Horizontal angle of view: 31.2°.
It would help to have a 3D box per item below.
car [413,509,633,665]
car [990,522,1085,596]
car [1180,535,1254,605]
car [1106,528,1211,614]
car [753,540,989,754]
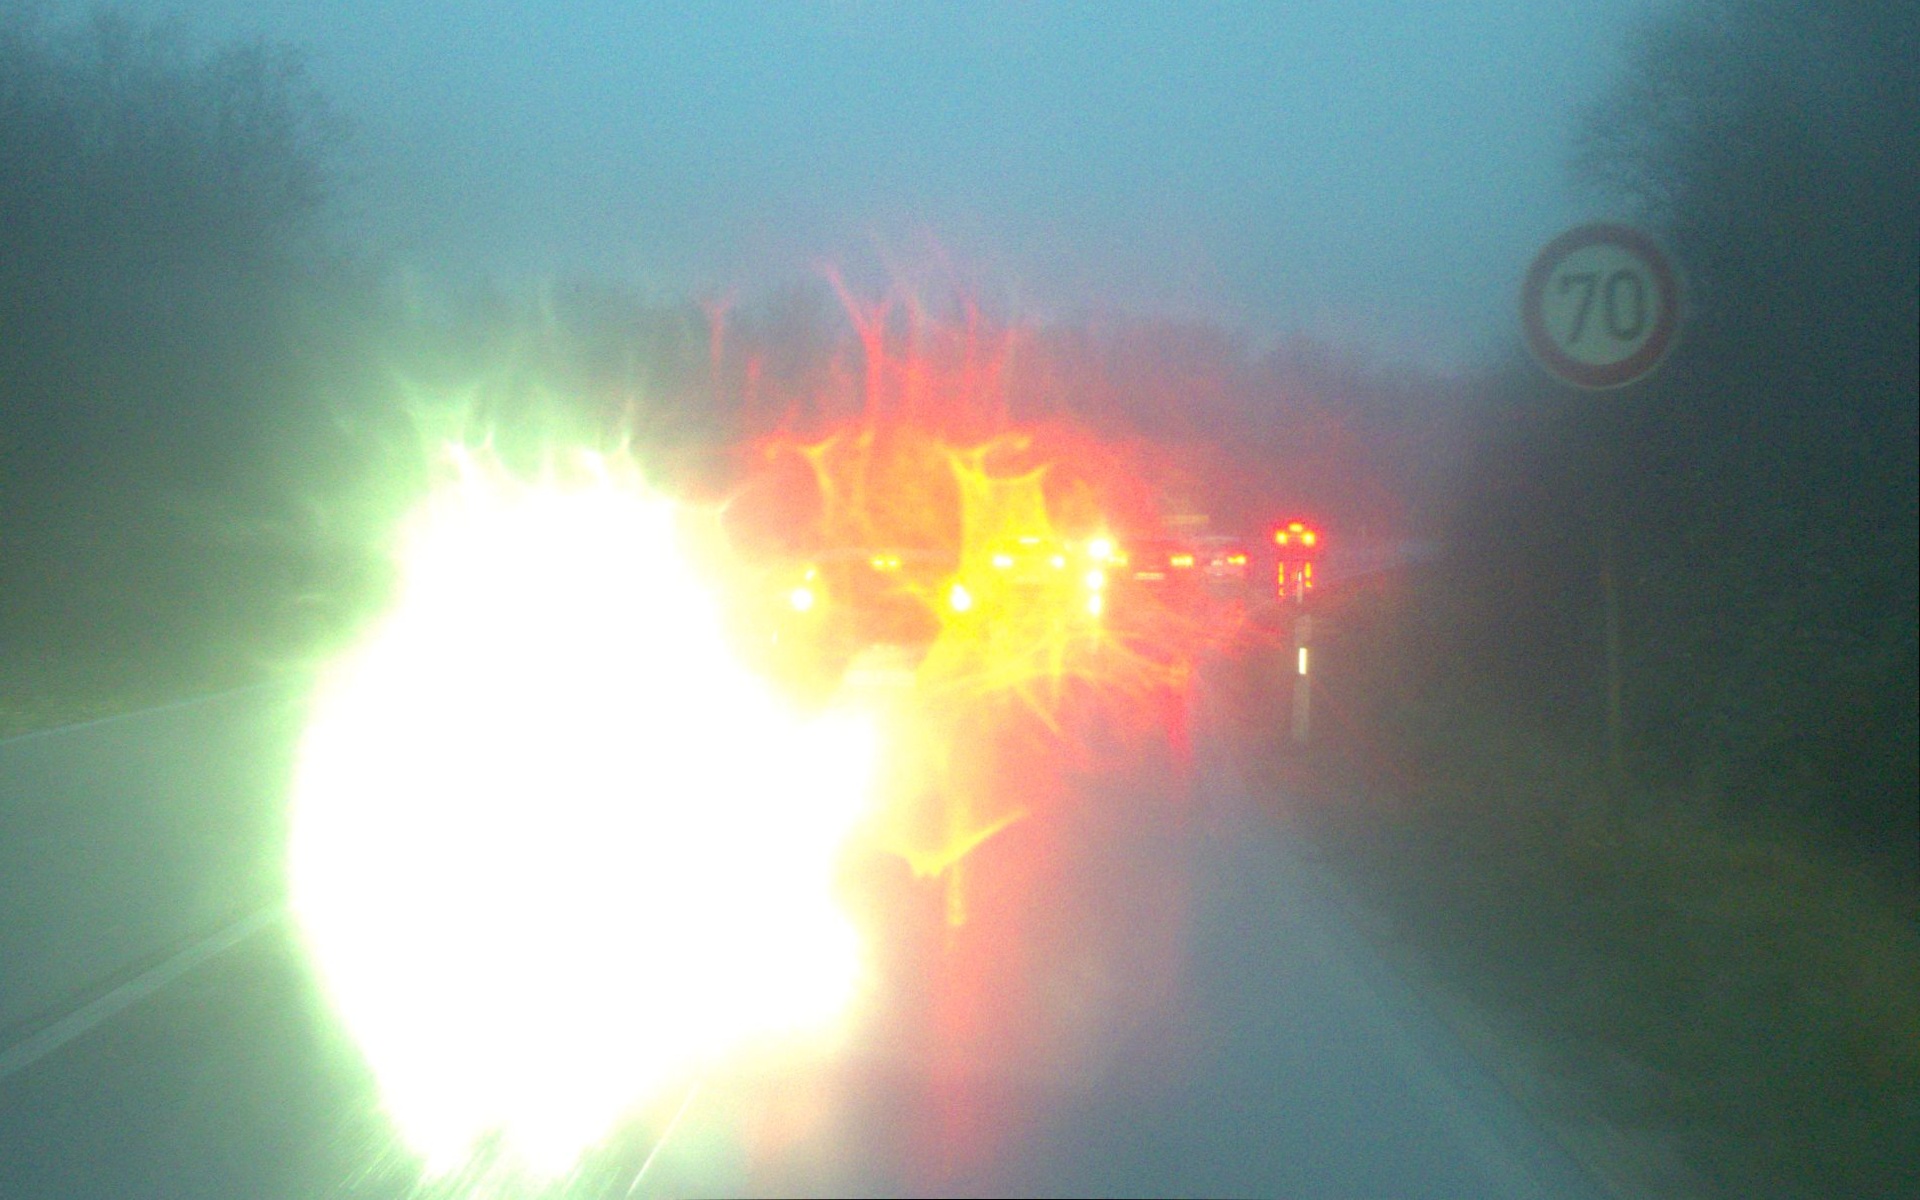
[{"bbox_3d":[-4.511,-0.186,35.977,1.764,1.492,4.103,1,2,0],"label":"car"},{"bbox_3d":[1.748,-0.962,78.896,2.005,1.550,4.517,2,2,0],"label":"car"},{"bbox_3d":[6.588,-0.785,88.418,1.679,1.669,4.098,1,2,2],"label":"car"},{"bbox_3d":[3.483,-0.543,60.913,1.679,1.385,4.098,1,2,1],"label":"car"},{"bbox_3d":[-0.692,0.304,26.851,1.632,1.416,4.172,3,2,-2],"label":"car"}]
